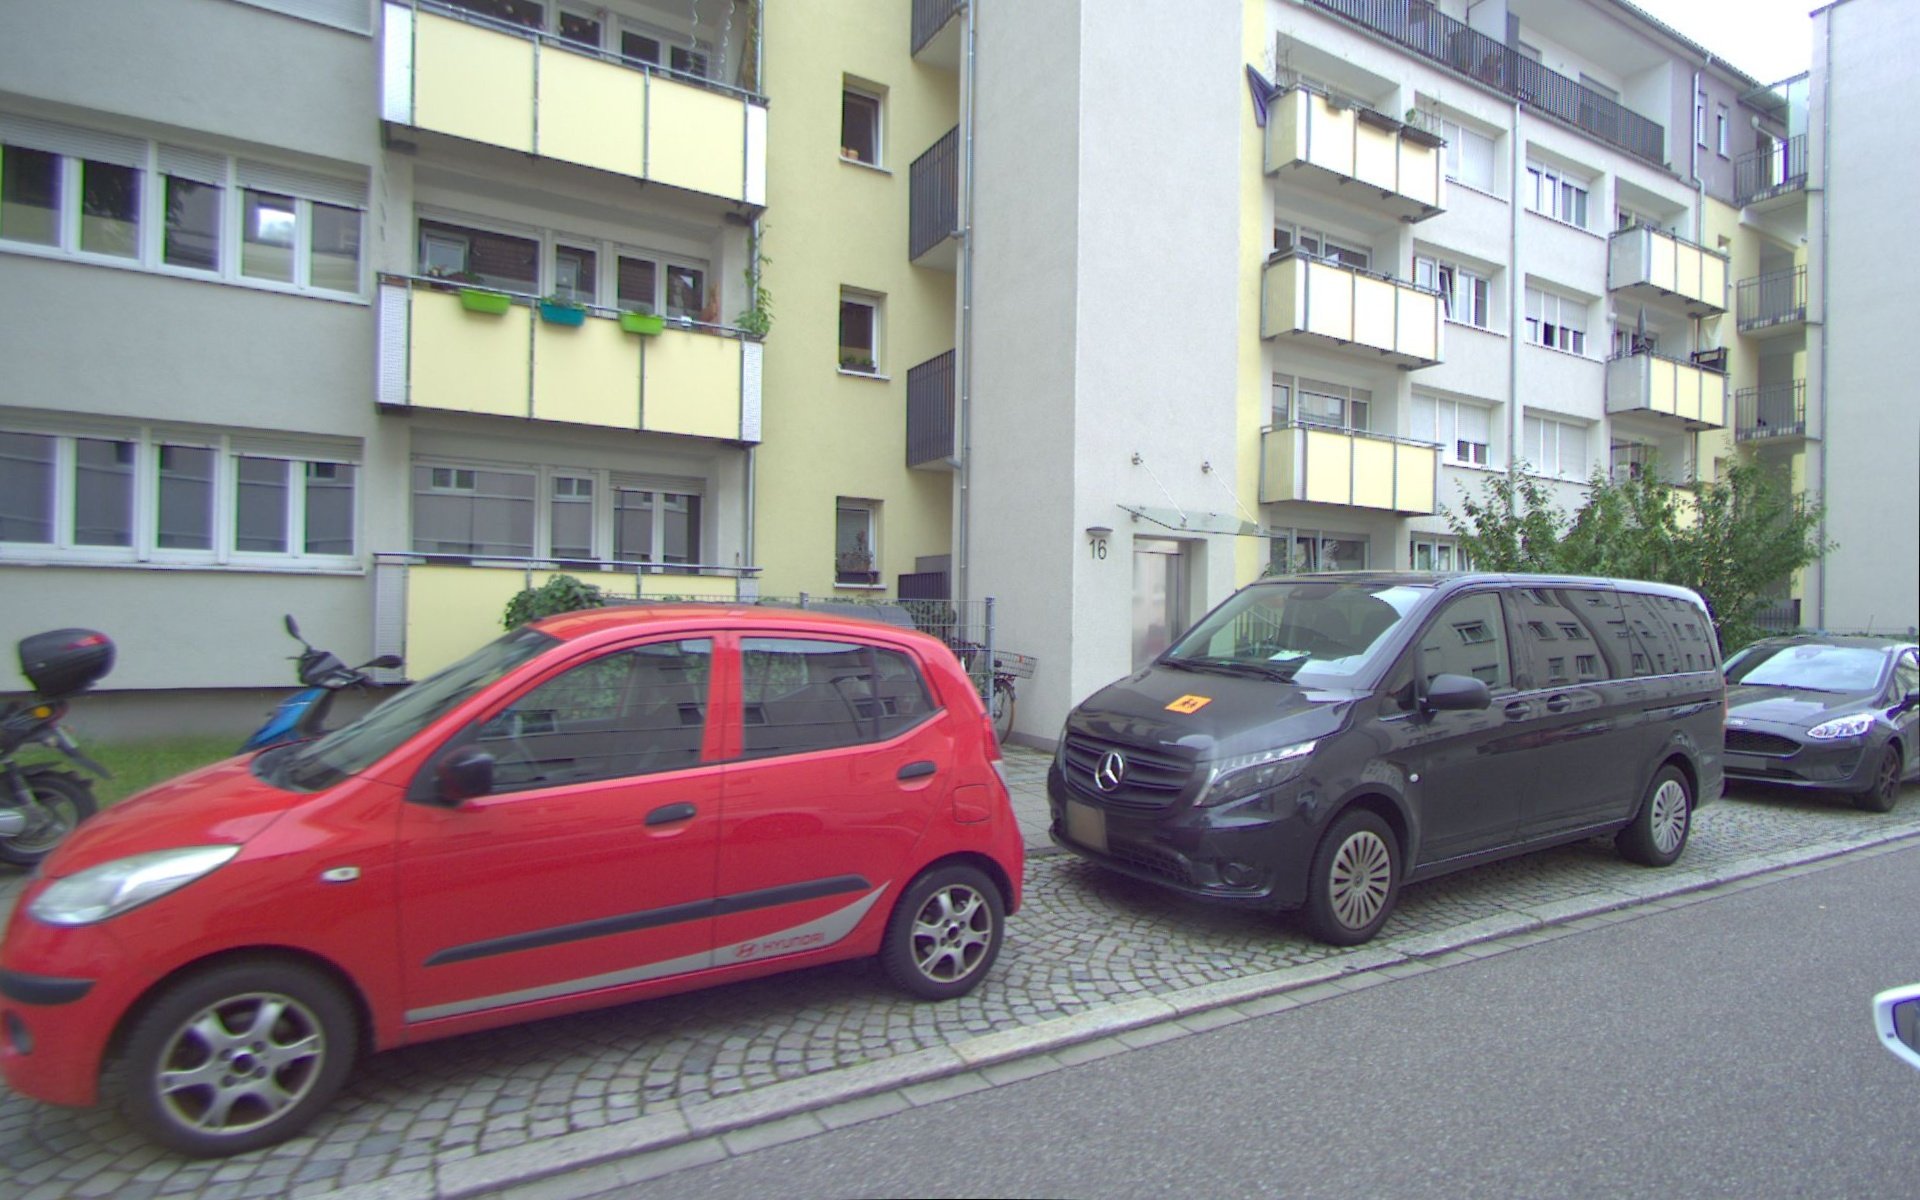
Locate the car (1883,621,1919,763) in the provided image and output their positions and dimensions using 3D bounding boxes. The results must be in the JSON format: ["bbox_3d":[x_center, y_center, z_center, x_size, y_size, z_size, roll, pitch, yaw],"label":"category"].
[{"bbox_3d":[13.429,1.132,12.511,4.306,1.665,1.760,1,0,-32],"label":"car"}]

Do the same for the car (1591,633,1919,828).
[{"bbox_3d":[8.226,1.096,9.831,4.212,1.478,1.820,1,0,-32],"label":"car"}]

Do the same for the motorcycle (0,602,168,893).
[{"bbox_3d":[-5.276,0.703,4.833,2.203,1.374,0.674,1,2,-30],"label":"motorcycle"}]

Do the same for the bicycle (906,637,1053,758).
[{"bbox_3d":[0.161,1.015,11.136,0.517,1.141,2.195,1,-1,-32],"label":"bicycle"}]

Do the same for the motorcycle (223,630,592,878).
[{"bbox_3d":[-3.205,0.834,5.967,1.812,1.247,0.633,1,3,-30],"label":"motorcycle"}]

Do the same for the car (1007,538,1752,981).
[{"bbox_3d":[2.894,0.707,6.483,4.975,1.929,1.868,1,2,-32],"label":"car"}]

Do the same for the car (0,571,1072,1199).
[{"bbox_3d":[-1.485,0.751,3.986,3.600,1.590,1.555,1,2,-31],"label":"car"}]
